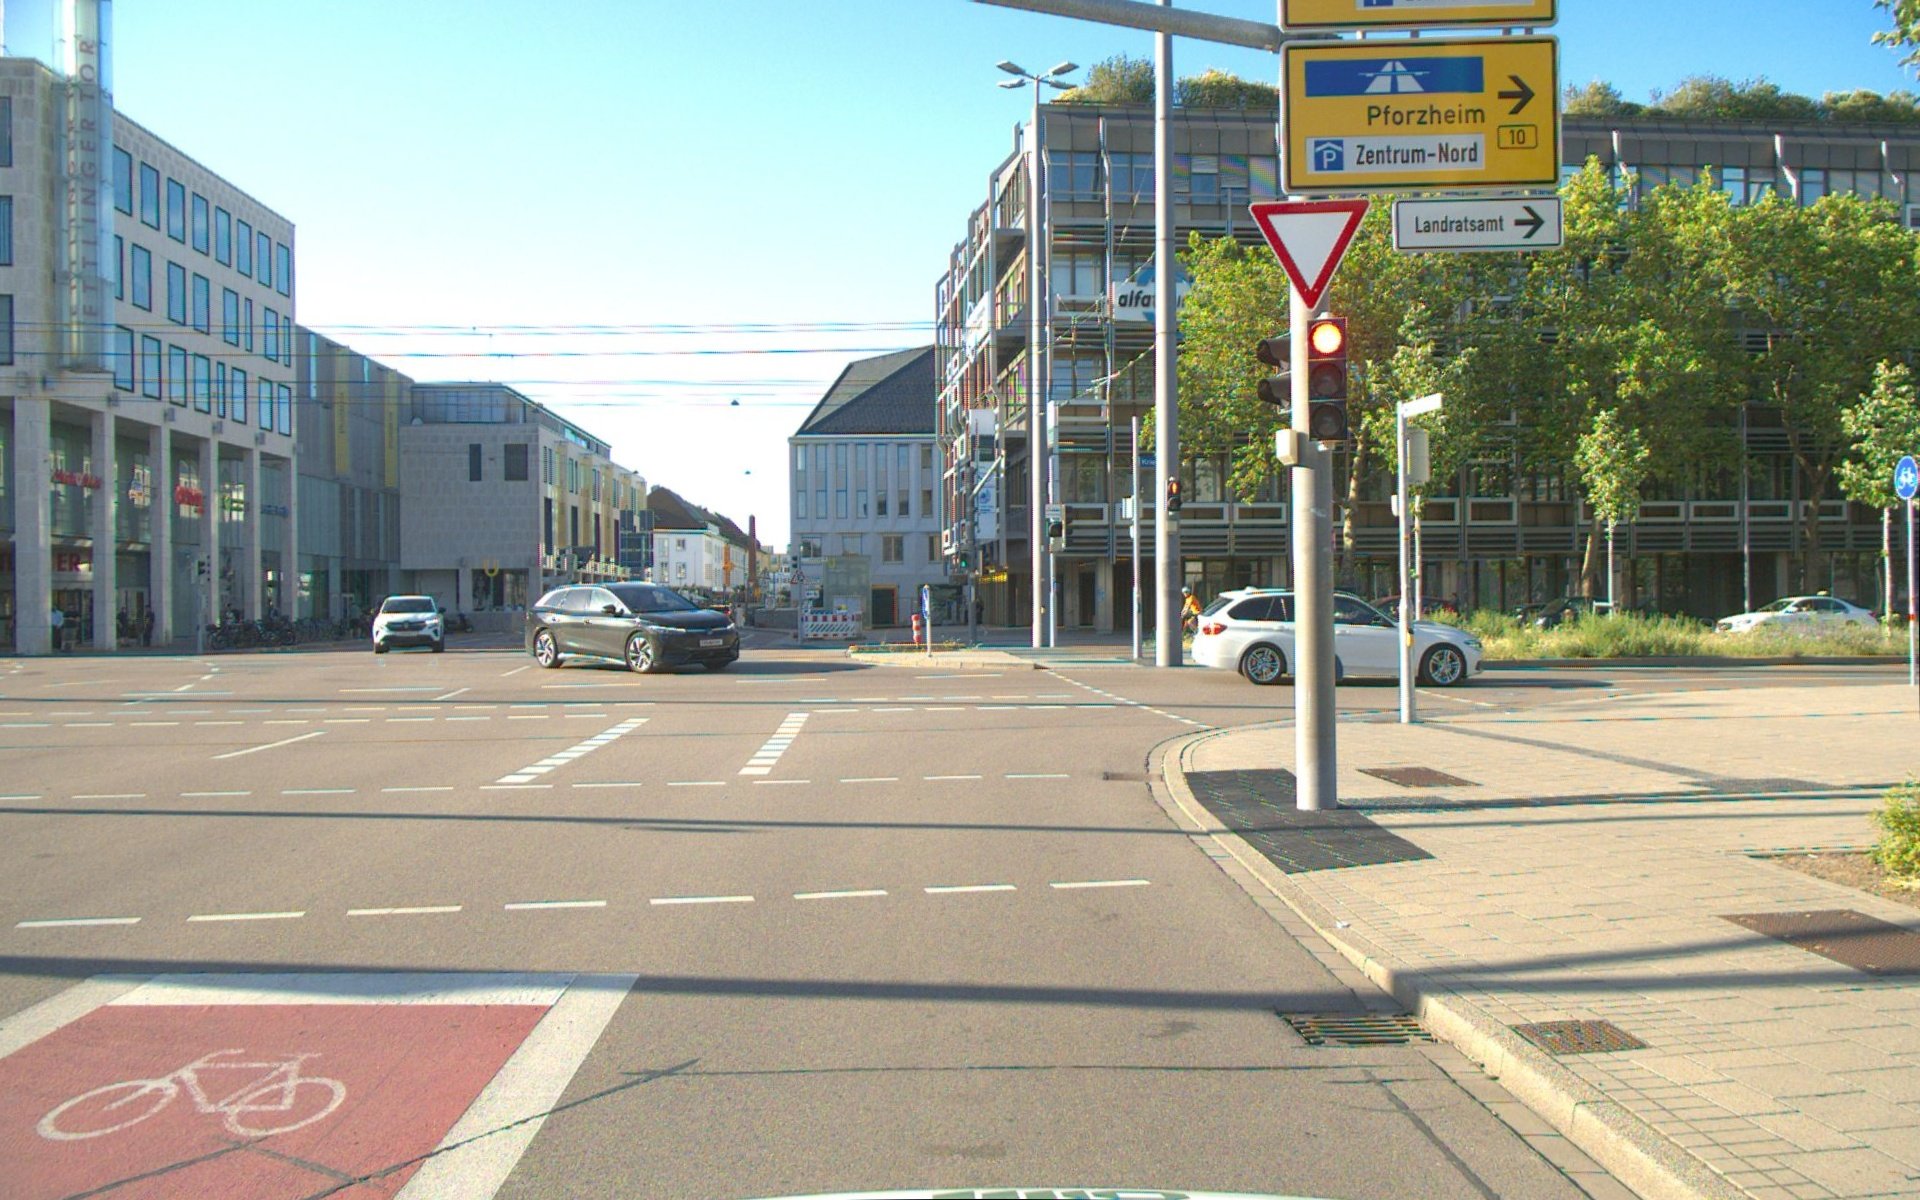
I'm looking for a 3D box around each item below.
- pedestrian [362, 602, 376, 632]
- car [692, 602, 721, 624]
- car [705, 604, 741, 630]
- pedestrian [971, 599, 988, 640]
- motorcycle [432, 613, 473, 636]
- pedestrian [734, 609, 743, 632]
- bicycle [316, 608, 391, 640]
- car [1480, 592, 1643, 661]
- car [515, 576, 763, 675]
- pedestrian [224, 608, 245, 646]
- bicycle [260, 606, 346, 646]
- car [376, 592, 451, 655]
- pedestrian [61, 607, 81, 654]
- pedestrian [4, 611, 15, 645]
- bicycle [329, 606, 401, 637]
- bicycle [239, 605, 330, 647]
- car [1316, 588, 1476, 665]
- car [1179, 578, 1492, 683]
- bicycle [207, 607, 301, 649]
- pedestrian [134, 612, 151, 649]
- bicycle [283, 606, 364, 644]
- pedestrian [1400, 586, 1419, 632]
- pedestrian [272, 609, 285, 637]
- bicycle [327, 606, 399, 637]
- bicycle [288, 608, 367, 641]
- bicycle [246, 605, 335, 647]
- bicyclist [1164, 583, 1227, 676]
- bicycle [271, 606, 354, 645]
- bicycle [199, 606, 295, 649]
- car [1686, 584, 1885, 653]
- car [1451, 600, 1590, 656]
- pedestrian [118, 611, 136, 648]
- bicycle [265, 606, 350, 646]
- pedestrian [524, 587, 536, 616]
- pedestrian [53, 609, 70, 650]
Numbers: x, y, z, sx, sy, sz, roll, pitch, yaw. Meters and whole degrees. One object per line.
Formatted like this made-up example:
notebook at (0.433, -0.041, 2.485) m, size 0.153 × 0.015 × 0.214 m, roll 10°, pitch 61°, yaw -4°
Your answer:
pedestrian at (-33.665, 0.968, 94.216) m, size 0.641 × 1.671 × 0.693 m, roll -1°, pitch 0°, yaw -9°
car at (-20.664, 1.038, 134.953) m, size 1.954 × 1.689 × 4.402 m, roll -1°, pitch 0°, yaw -5°
car at (-15.493, 1.096, 108.163) m, size 2.157 × 1.635 × 4.320 m, roll -1°, pitch 0°, yaw -6°
pedestrian at (0.807, 0.798, 68.596) m, size 0.650 × 1.687 × 0.755 m, roll -1°, pitch 0°, yaw -4°
motorcycle at (-29.951, 1.436, 97.595) m, size 2.230 × 1.341 × 0.719 m, roll -1°, pitch 0°, yaw -6°
pedestrian at (-14.483, 1.341, 108.234) m, size 0.598 × 1.436 × 0.569 m, roll -1°, pitch 0°, yaw -7°
bicycle at (-30.881, 1.213, 84.267) m, size 3.430 × 1.554 × 0.984 m, roll -1°, pitch 0°, yaw -12°
car at (18.829, 0.819, 51.879) m, size 4.359 × 2.049 × 1.998 m, roll 1°, pitch 0°, yaw -6°
car at (-5.884, 0.407, 29.968) m, size 4.868 × 1.629 × 1.987 m, roll 0°, pitch 1°, yaw 44°
pedestrian at (-33.046, 1.229, 75.351) m, size 0.771 × 1.671 × 0.692 m, roll -1°, pitch 0°, yaw -14°
bicycle at (-29.571, 1.169, 74.494) m, size 3.430 × 1.726 × 0.984 m, roll -1°, pitch 0°, yaw -12°
car at (-15.843, 0.647, 47.834) m, size 1.964 × 1.689 × 4.380 m, roll -1°, pitch 0°, yaw -20°
pedestrian at (-32.575, 1.115, 60.583) m, size 0.532 × 1.671 × 0.548 m, roll -1°, pitch 0°, yaw -17°
pedestrian at (-40.778, 1.188, 70.941) m, size 0.382 × 1.451 × 0.498 m, roll -1°, pitch 0°, yaw -28°
bicycle at (-31.386, 1.109, 87.245) m, size 3.430 × 1.554 × 0.984 m, roll -1°, pitch 0°, yaw -12°
bicycle at (-28.865, 1.088, 70.713) m, size 3.427 × 1.726 × 1.114 m, roll -1°, pitch 0°, yaw -10°
car at (12.233, 0.731, 46.578) m, size 3.908 × 2.049 × 1.999 m, roll 1°, pitch 0°, yaw -3°
car at (5.875, 0.469, 26.338) m, size 4.588 × 1.554 × 2.001 m, roll -1°, pitch 0°, yaw 3°
bicycle at (-29.554, 1.162, 69.250) m, size 3.427 × 1.726 × 1.114 m, roll -1°, pitch 0°, yaw -10°
pedestrian at (-34.697, 1.283, 70.190) m, size 0.472 × 1.537 × 0.513 m, roll -1°, pitch 0°, yaw -5°
bicycle at (-30.334, 1.188, 78.867) m, size 3.430 × 1.726 × 0.984 m, roll -1°, pitch 0°, yaw -12°
pedestrian at (16.596, 0.333, 61.120) m, size 0.529 × 1.698 × 0.536 m, roll -1°, pitch 0°, yaw -3°
pedestrian at (-36.524, 1.240, 88.612) m, size 0.629 × 1.460 × 0.472 m, roll -1°, pitch 0°, yaw -23°
bicycle at (-31.069, 1.121, 86.128) m, size 3.430 × 1.554 × 0.984 m, roll -1°, pitch 0°, yaw -12°
bicycle at (-30.539, 1.172, 79.857) m, size 3.430 × 1.554 × 0.984 m, roll -1°, pitch 0°, yaw -12°
bicycle at (-29.096, 1.124, 71.925) m, size 3.427 × 1.726 × 1.114 m, roll -1°, pitch 0°, yaw -10°
bicyclist at (6.720, 0.831, 47.223) m, size 1.539 × 2.625 × 0.930 m, roll -1°, pitch 0°, yaw -10°
bicycle at (-30.036, 1.179, 76.782) m, size 3.430 × 1.726 × 0.984 m, roll -1°, pitch 0°, yaw -12°
bicycle at (-29.320, 1.113, 68.033) m, size 3.427 × 1.726 × 1.114 m, roll -1°, pitch 0°, yaw -10°
car at (26.174, 0.576, 52.575) m, size 5.332 × 2.049 × 2.096 m, roll 1°, pitch 0°, yaw -3°
car at (18.670, 0.916, 55.209) m, size 3.908 × 1.780 × 1.998 m, roll 1°, pitch 0°, yaw -5°
pedestrian at (-35.043, 1.248, 69.563) m, size 0.501 × 1.537 × 0.513 m, roll -1°, pitch 0°, yaw -5°
bicycle at (-29.795, 1.178, 75.582) m, size 3.430 × 1.726 × 0.984 m, roll -1°, pitch 0°, yaw -12°
pedestrian at (-30.138, 0.113, 115.845) m, size 0.613 × 2.049 × 0.734 m, roll -1°, pitch 0°, yaw 1°
pedestrian at (-35.584, 1.167, 65.507) m, size 0.420 × 1.613 × 0.498 m, roll -1°, pitch 0°, yaw -5°
